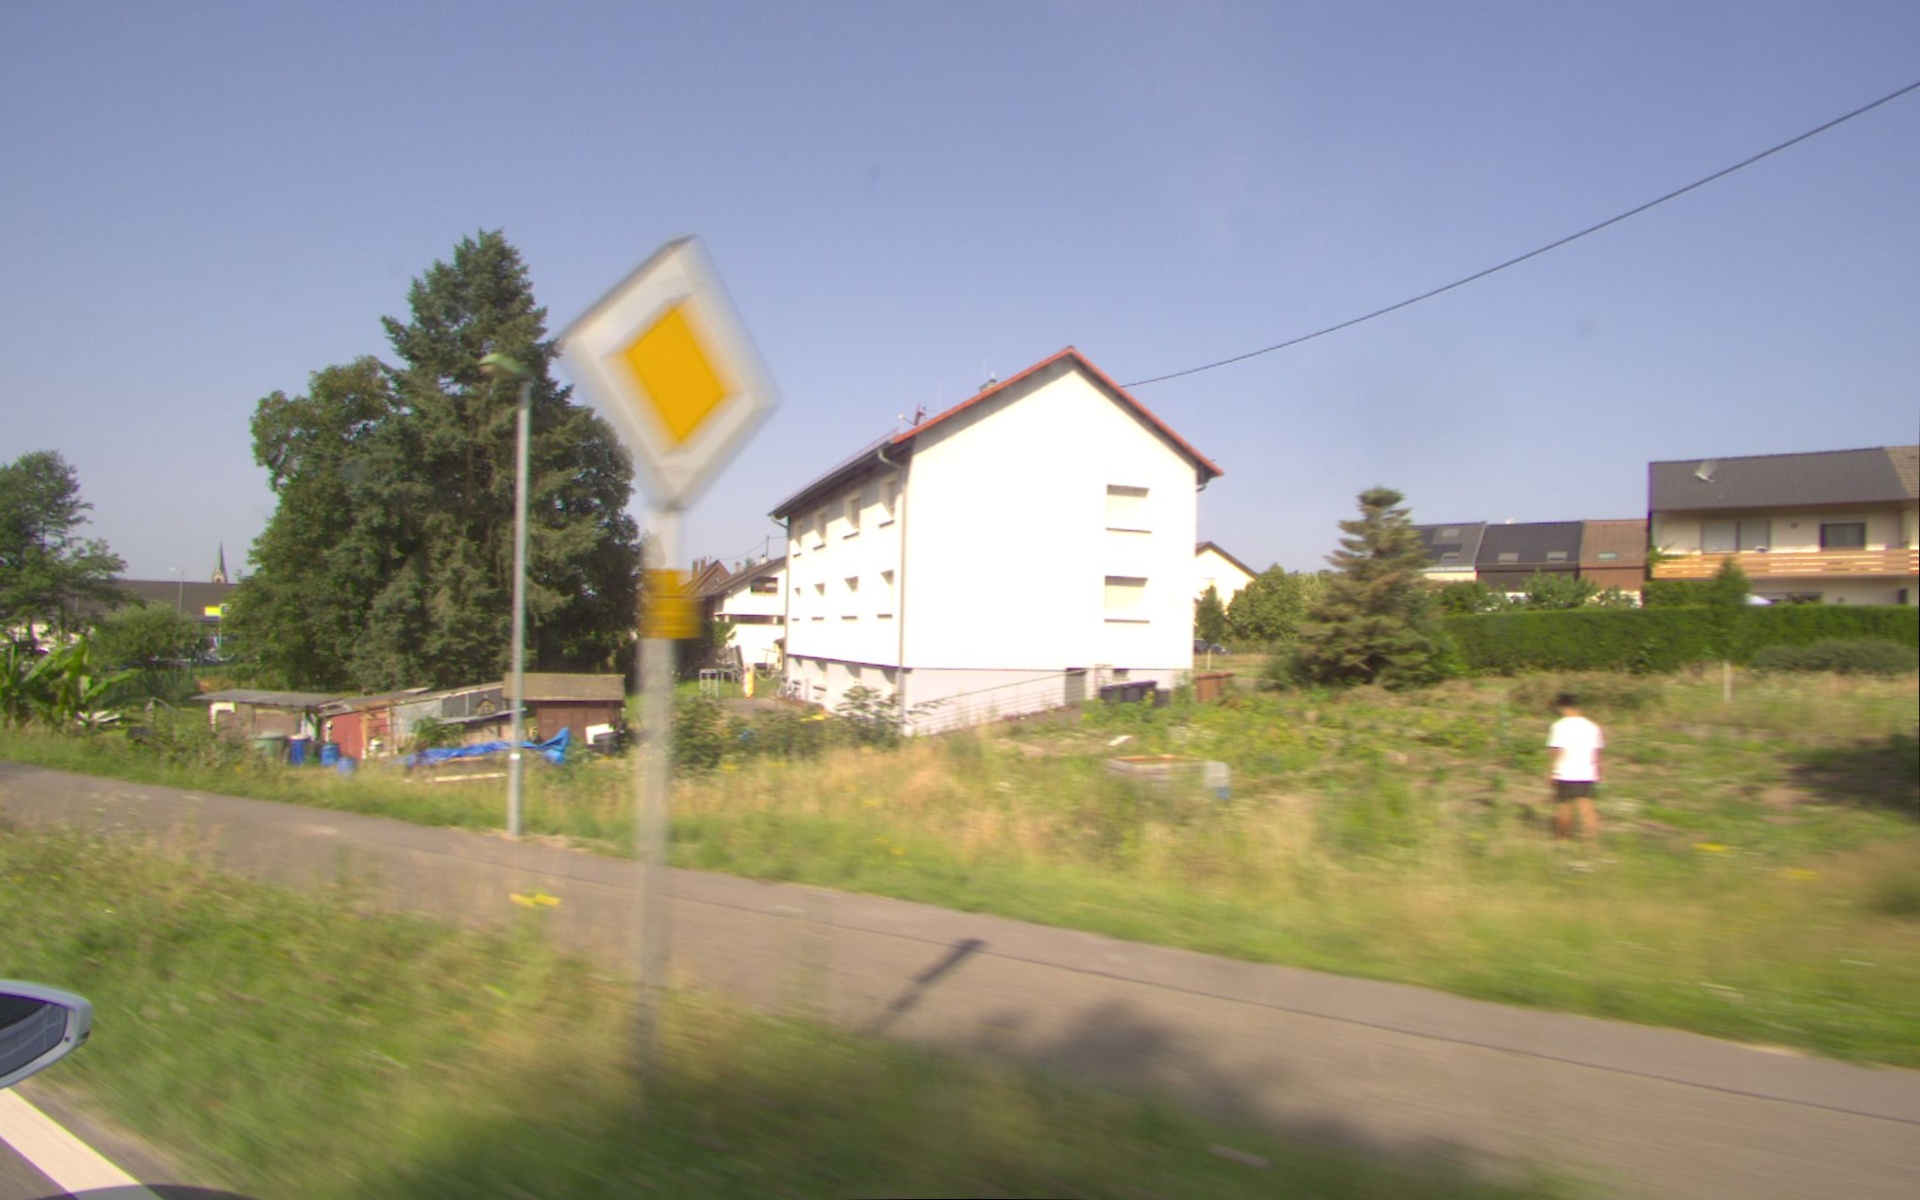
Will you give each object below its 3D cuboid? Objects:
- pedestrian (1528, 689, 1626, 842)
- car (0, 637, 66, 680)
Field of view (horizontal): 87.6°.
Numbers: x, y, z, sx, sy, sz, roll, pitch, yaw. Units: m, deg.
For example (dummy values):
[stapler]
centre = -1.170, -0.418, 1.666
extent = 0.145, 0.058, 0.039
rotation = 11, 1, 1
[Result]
[pedestrian]
centre = 7.011, 1.874, 11.411
extent = 0.682, 1.635, 0.455
rotation = -6, -3, 17
[car]
centre = -60.496, 3.668, 63.044
extent = 5.689, 2.701, 2.401
rotation = 1, -2, -21
